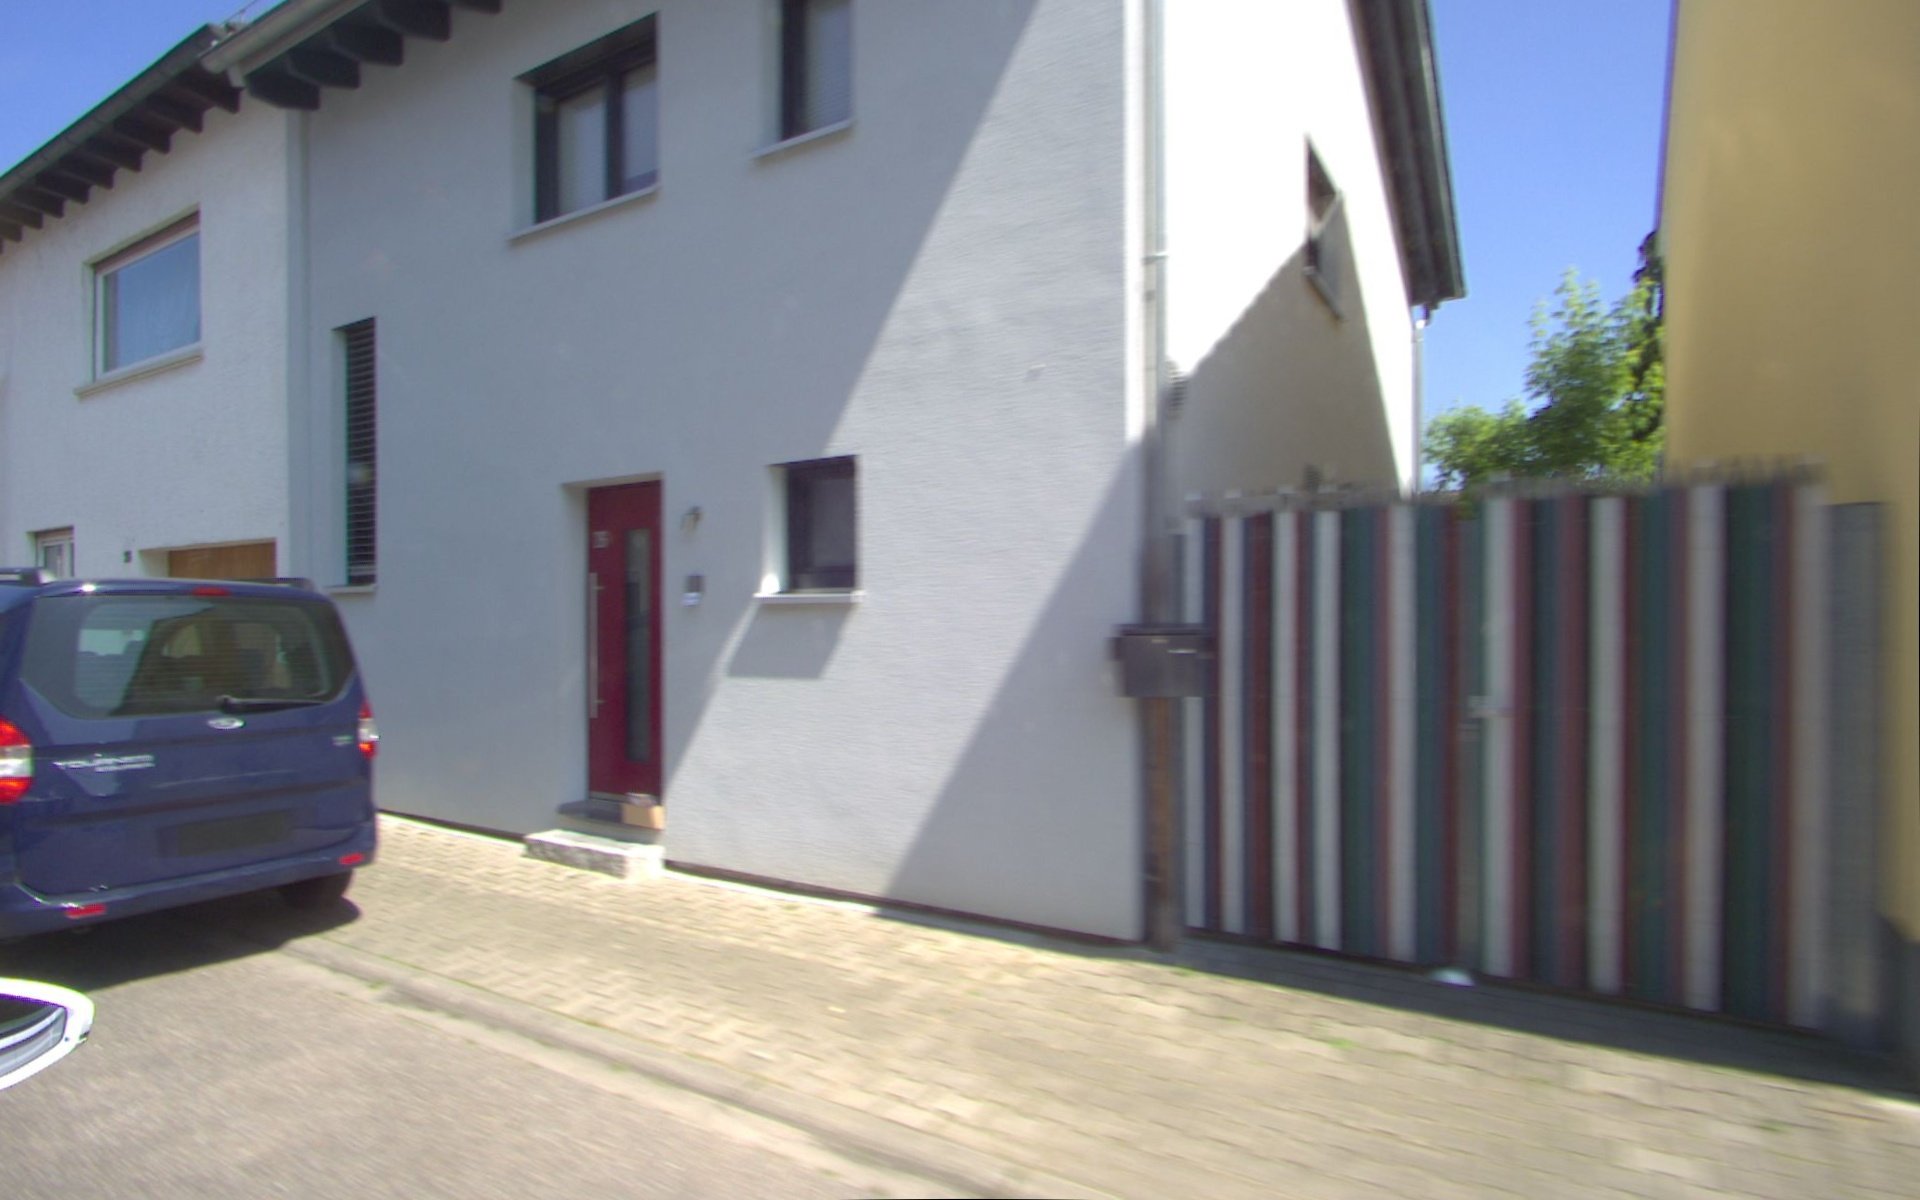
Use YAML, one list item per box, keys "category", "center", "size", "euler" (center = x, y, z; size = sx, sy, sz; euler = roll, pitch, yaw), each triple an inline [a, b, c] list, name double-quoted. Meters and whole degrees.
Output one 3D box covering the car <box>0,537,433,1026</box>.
- category: "car"
  center: [-4.912, 0.725, 5.444]
  size: [4.137, 1.800, 1.695]
  euler: [-1, -2, 31]
